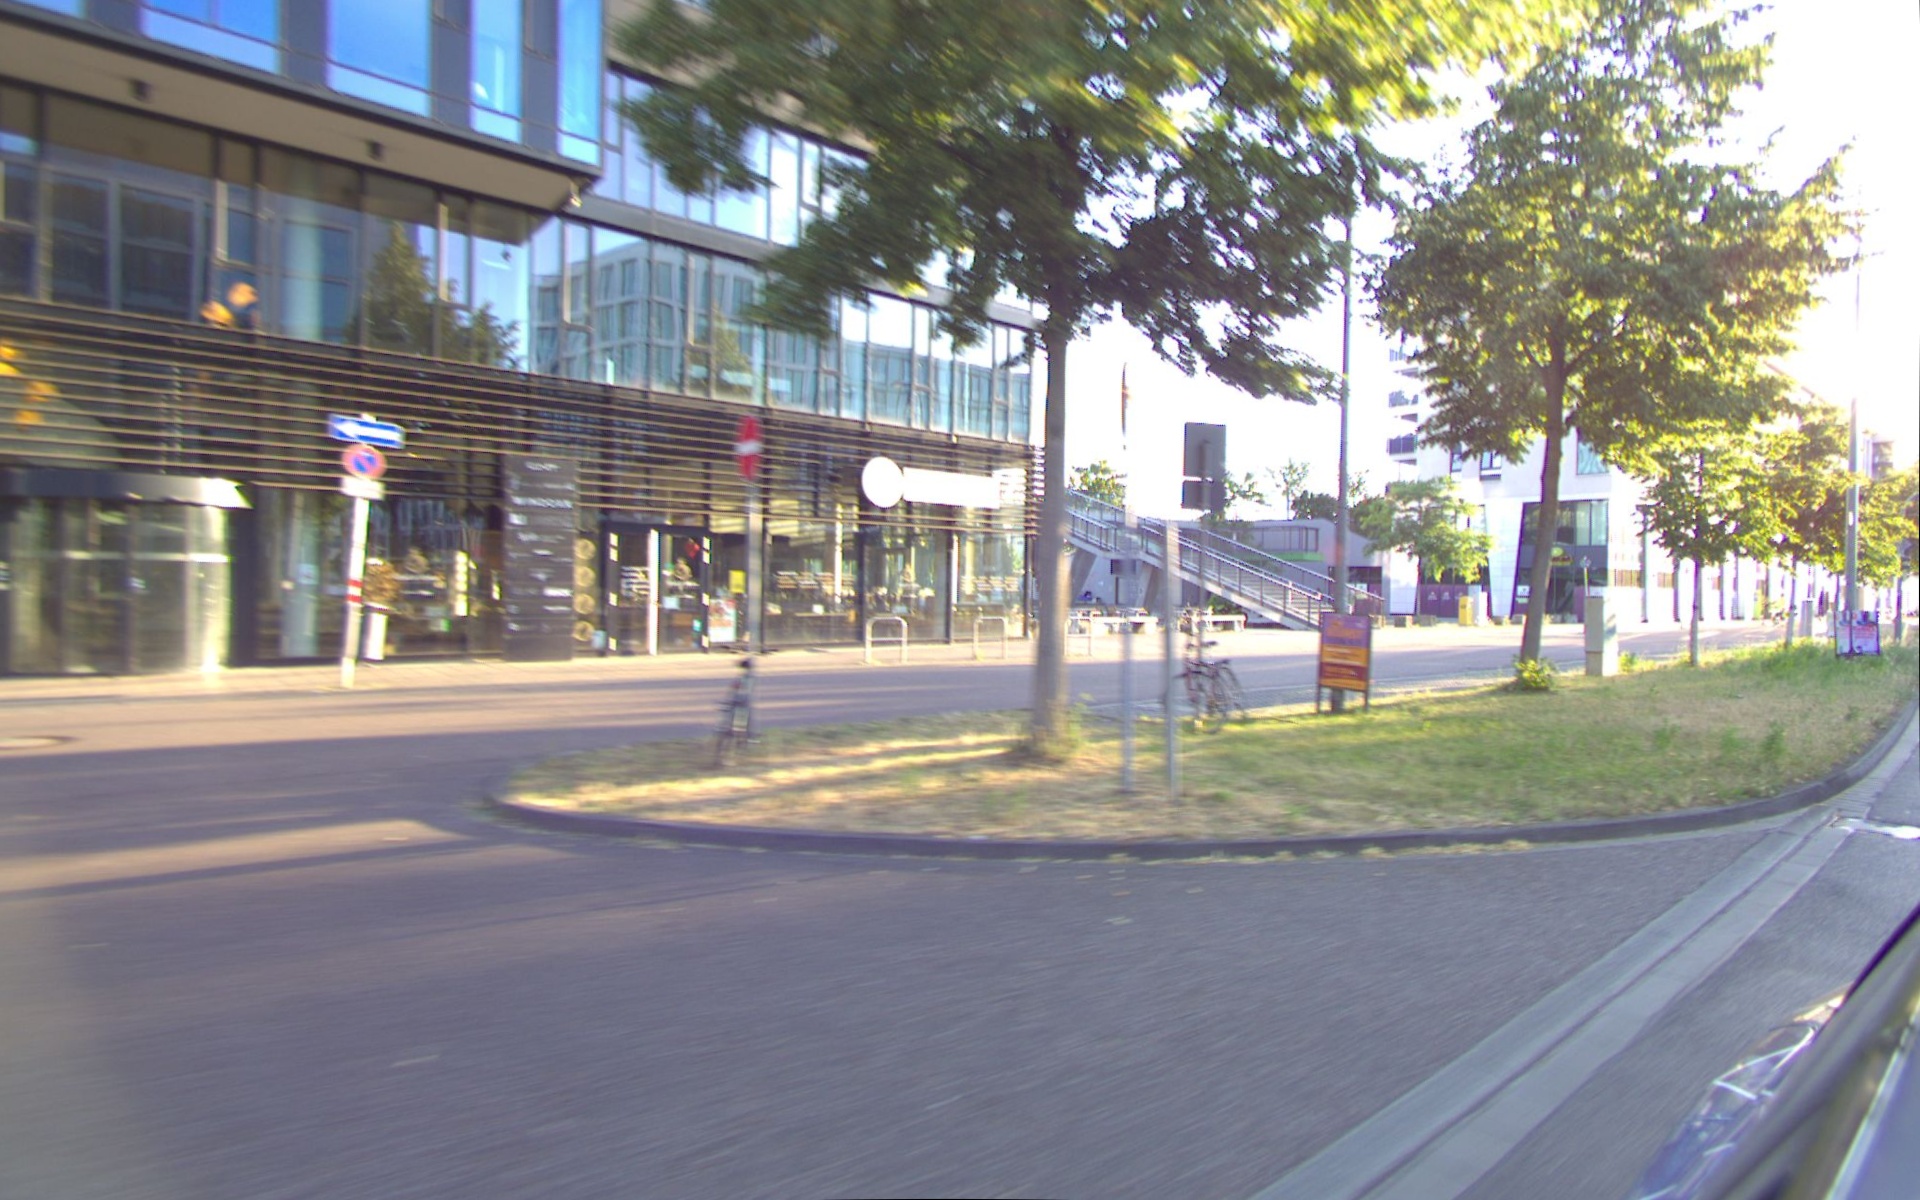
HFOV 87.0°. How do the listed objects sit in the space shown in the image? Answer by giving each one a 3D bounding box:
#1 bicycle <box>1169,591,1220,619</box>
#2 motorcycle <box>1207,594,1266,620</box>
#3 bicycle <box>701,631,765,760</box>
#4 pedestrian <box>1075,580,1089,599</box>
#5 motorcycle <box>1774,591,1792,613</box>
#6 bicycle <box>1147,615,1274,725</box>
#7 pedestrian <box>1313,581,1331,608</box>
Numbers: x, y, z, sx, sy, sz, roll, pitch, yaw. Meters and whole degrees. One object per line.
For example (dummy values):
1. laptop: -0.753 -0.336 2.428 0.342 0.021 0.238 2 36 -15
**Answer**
1. bicycle: 10.683 0.221 46.023 2.400 1.252 0.734 1 0 -30
2. motorcycle: 11.666 0.297 42.598 2.637 1.056 0.734 1 1 -30
3. bicycle: -1.939 0.774 8.758 0.355 0.922 1.726 1 1 -7
4. pedestrian: 10.230 -0.884 84.866 0.782 1.614 0.717 1 0 -34
5. motorcycle: 63.185 0.157 77.672 2.086 1.720 0.690 1 0 -41
6. bicycle: 2.651 0.689 10.614 0.578 1.007 1.662 2 1 41
7. pedestrian: 23.136 -0.323 64.621 0.751 1.703 0.767 1 0 -38
